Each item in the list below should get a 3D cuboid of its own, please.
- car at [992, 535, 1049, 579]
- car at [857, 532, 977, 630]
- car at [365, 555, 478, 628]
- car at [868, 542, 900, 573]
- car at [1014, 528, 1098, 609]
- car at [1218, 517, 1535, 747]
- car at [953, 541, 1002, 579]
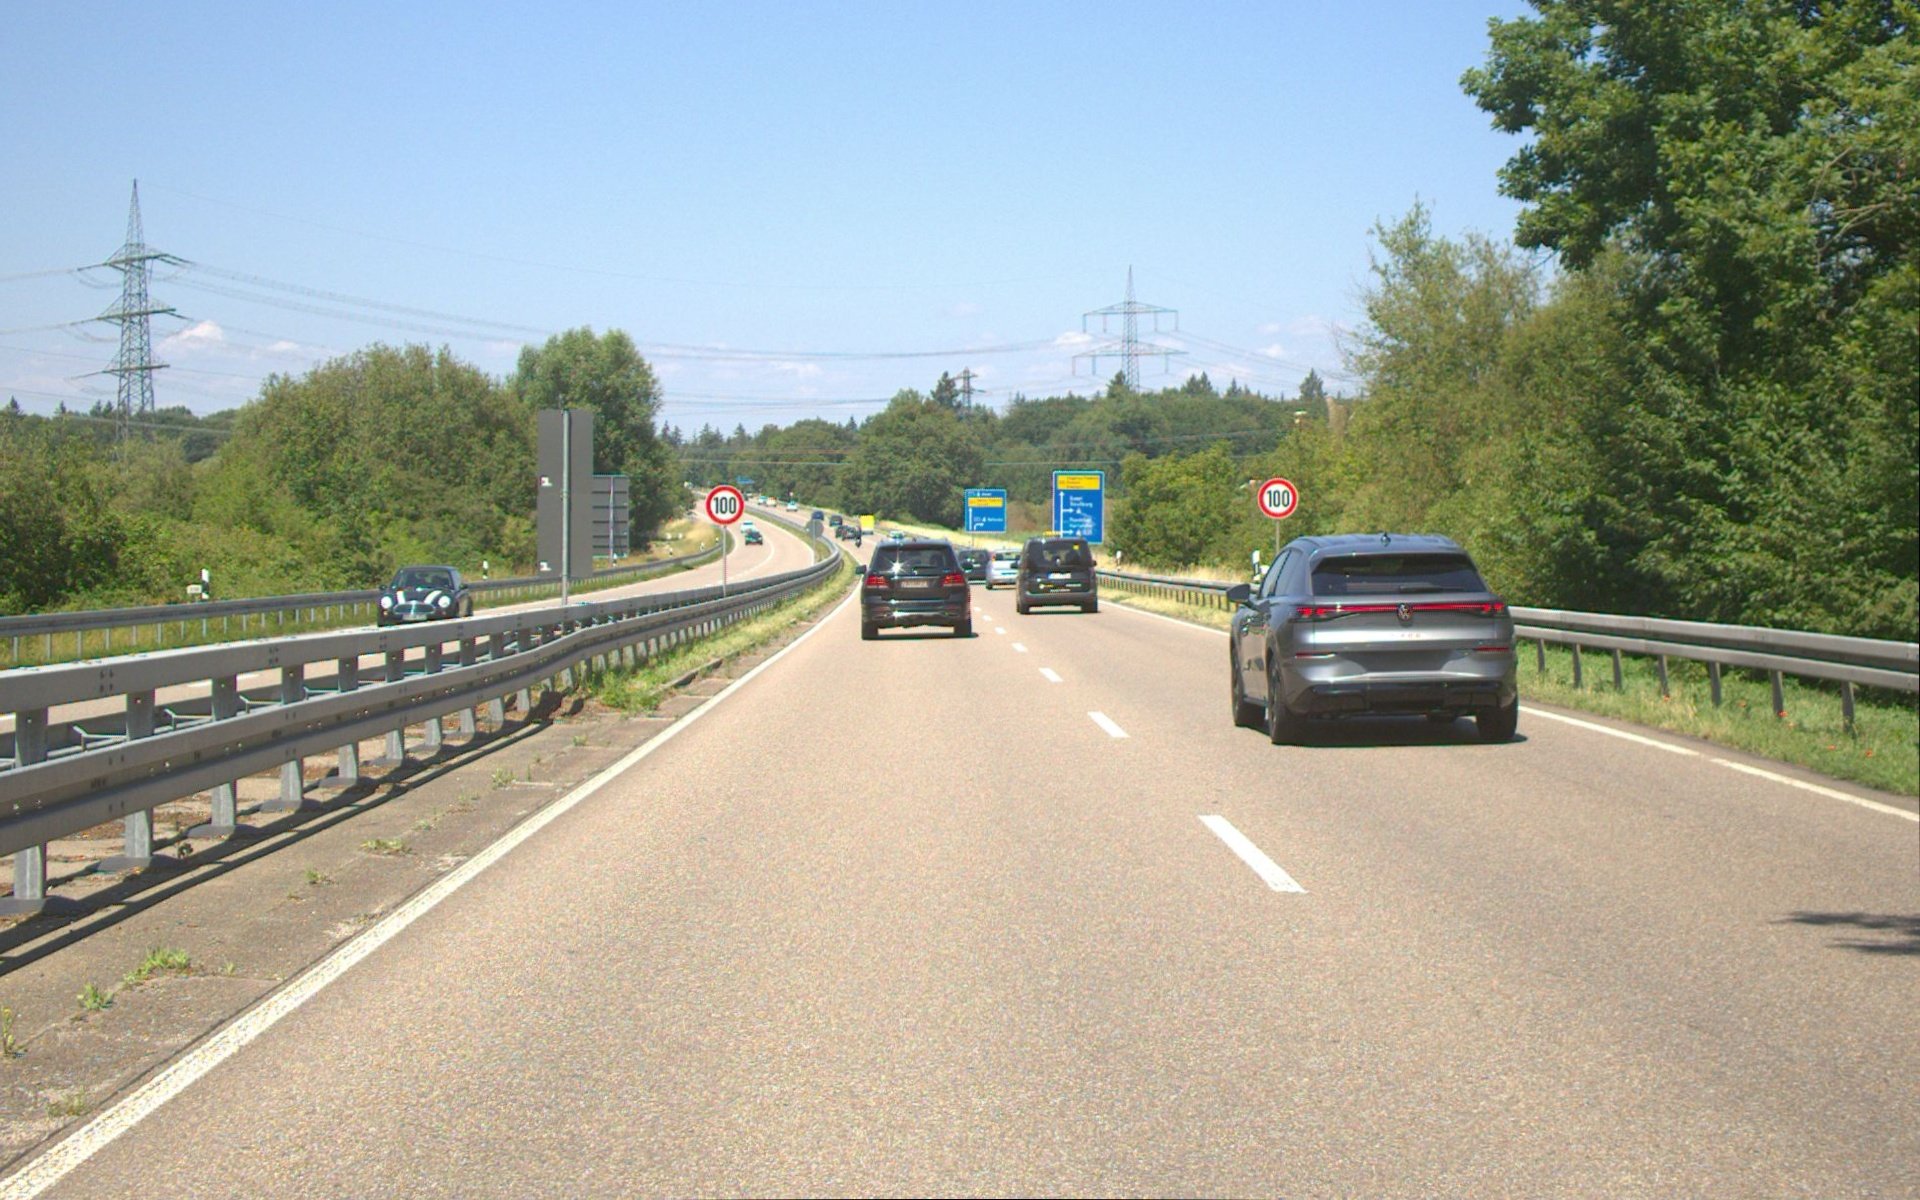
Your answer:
[{"bbox_3d":[2.214,-1.603,126.792,1.779,1.474,4.316,3,1,-2],"label":"car"},{"bbox_3d":[-0.793,-0.371,60.854,1.993,1.649,4.001,1,1,-2],"label":"car"},{"bbox_3d":[-11.573,-0.204,74.071,1.797,1.463,3.773,1,1,0],"label":"car"},{"bbox_3d":[-3.919,-2.191,176.689,1.514,1.470,3.067,2,2,-2],"label":"car"},{"bbox_3d":[2.243,-0.768,81.326,1.779,1.810,4.213,-1,2,-1],"label":"car"},{"bbox_3d":[3.100,0.178,26.309,1.785,1.548,4.020,-2,2,-2],"label":"car"},{"bbox_3d":[0.699,-1.641,139.836,1.819,1.409,4.001,-1,2,-1],"label":"car"}]
